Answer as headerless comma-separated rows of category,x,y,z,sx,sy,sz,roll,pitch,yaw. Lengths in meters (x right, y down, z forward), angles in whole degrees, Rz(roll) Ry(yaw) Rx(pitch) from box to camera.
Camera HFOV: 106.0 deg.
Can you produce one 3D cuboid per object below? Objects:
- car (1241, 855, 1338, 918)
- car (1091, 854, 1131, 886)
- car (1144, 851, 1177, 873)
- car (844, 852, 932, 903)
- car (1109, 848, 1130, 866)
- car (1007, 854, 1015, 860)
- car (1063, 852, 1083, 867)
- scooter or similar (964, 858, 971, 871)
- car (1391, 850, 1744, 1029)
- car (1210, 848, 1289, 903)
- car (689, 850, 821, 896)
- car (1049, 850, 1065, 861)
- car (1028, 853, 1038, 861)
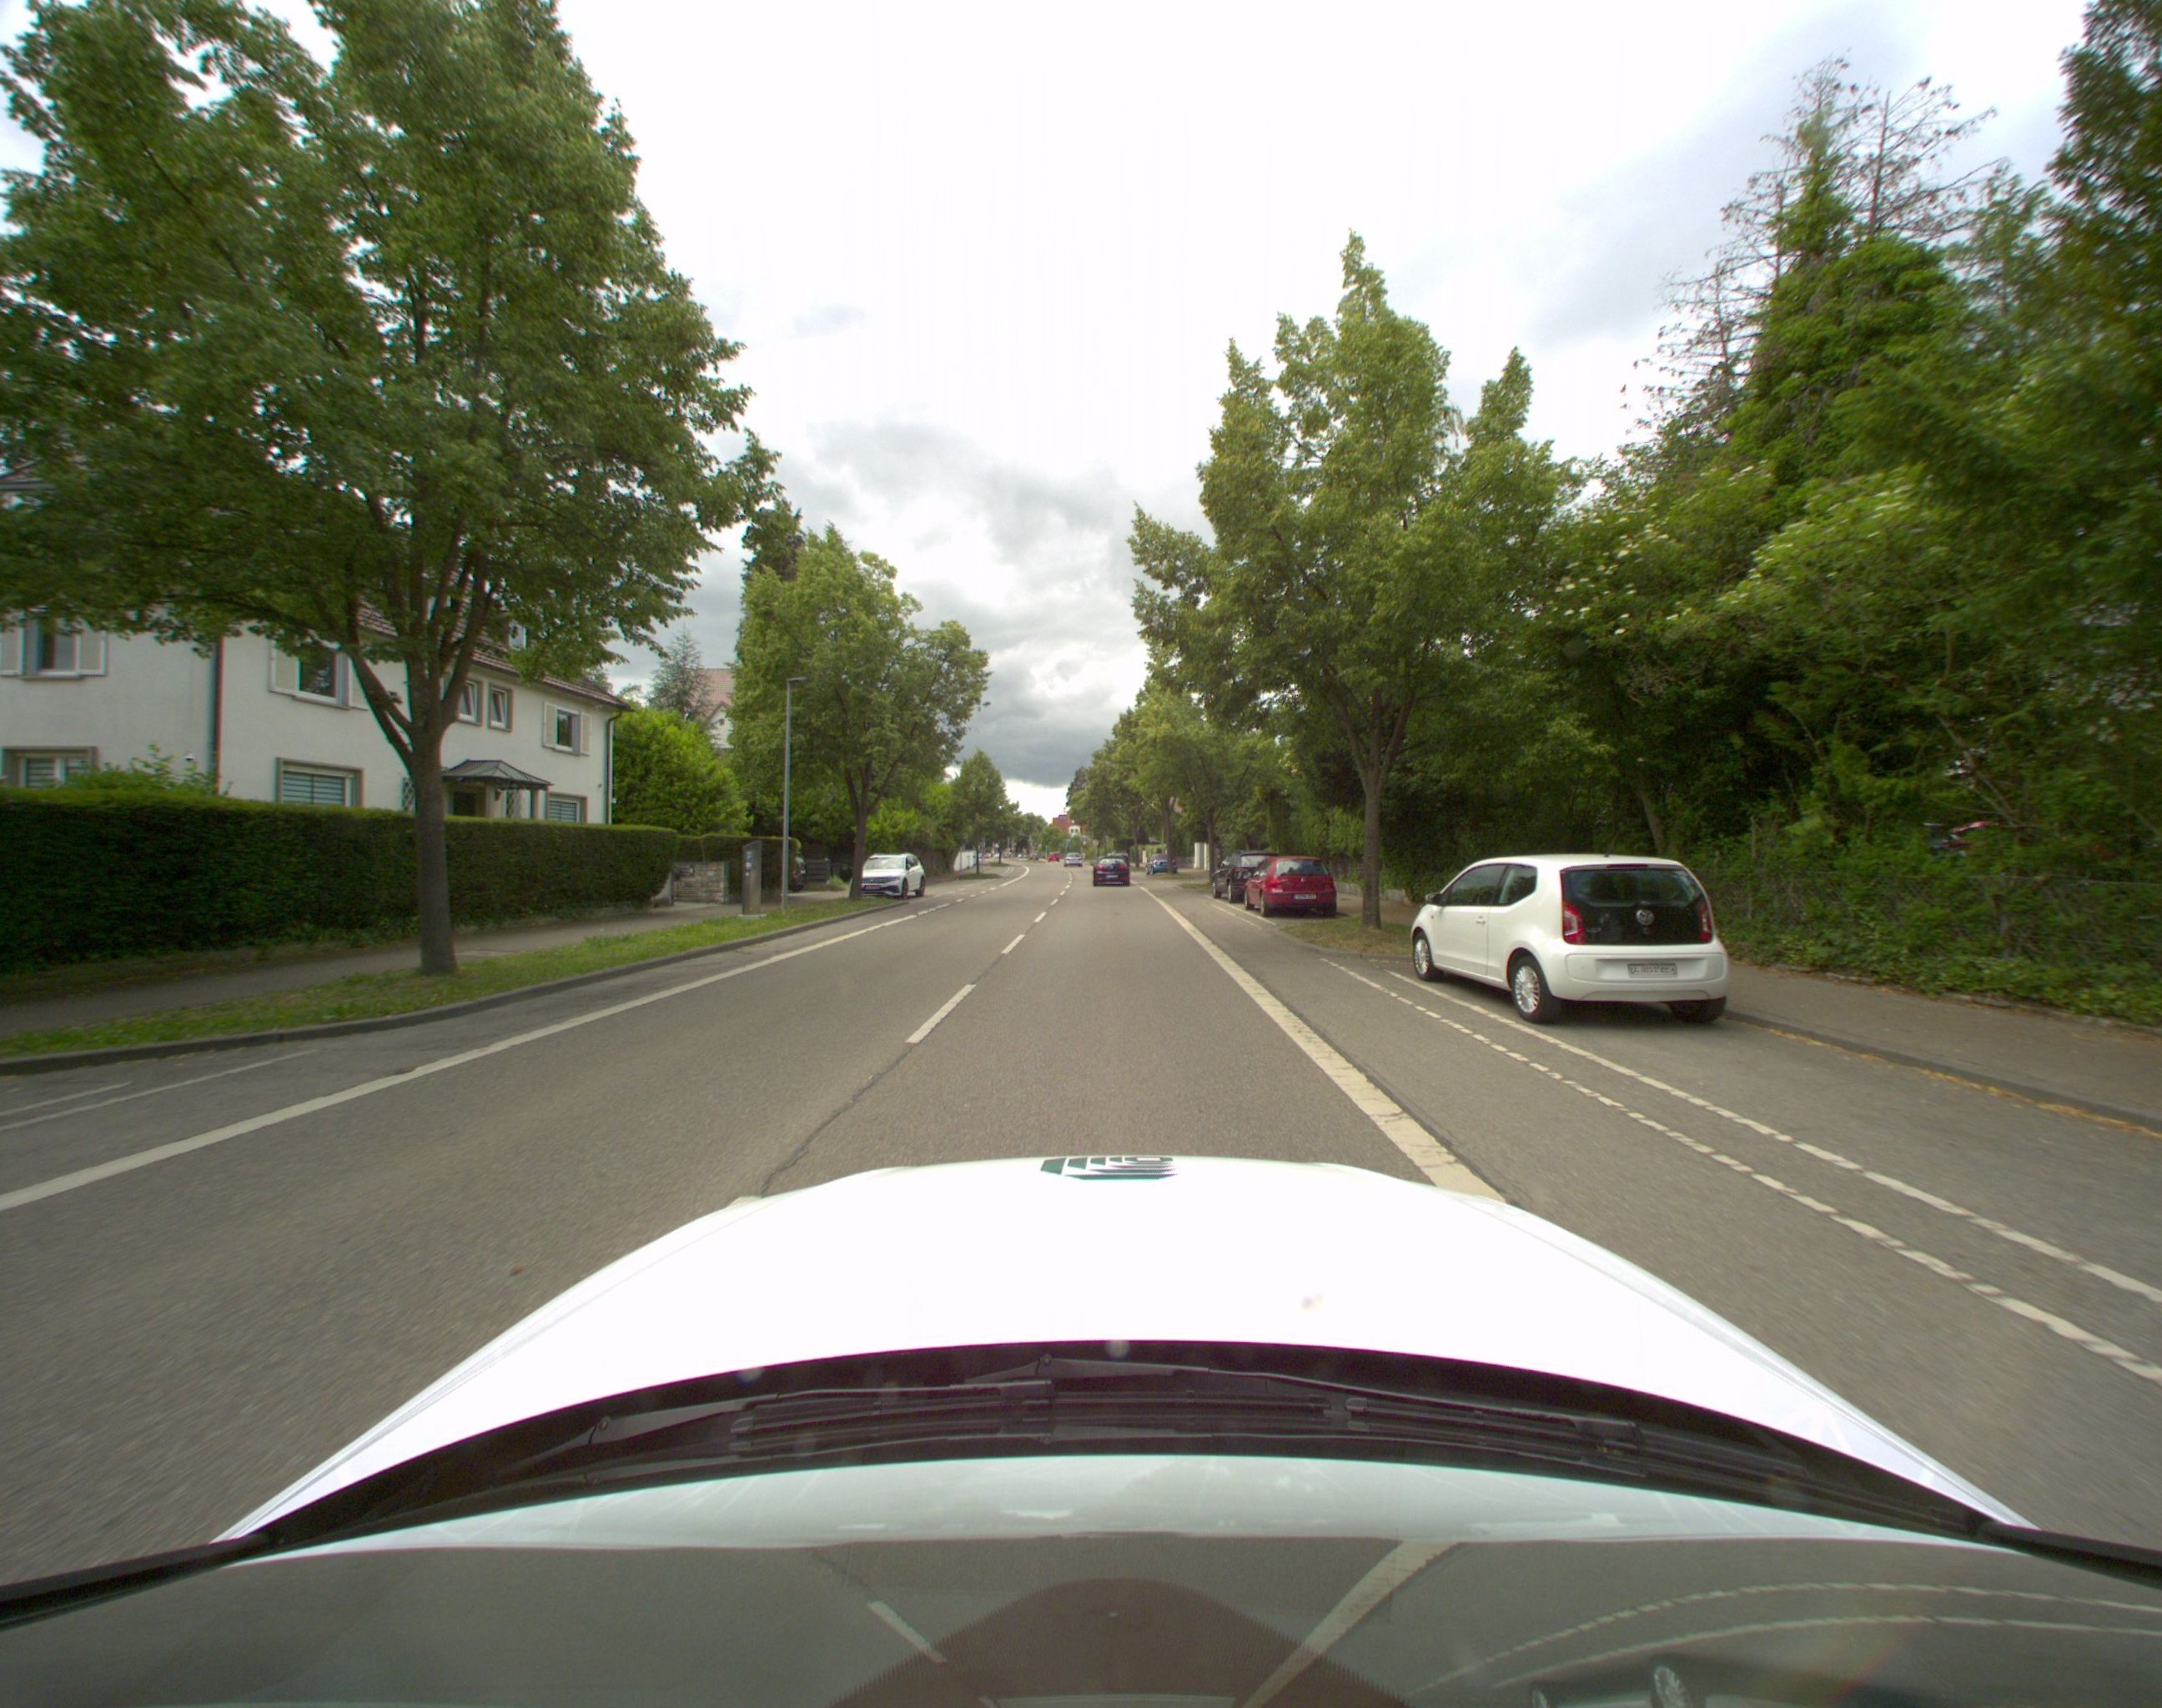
car,5.111,0.745,20.483,1.631,1.420,4.004,-1,0,3
car,1.410,0.742,39.045,1.777,1.449,3.557,0,0,0
car,5.371,0.523,55.510,1.679,1.432,4.039,0,0,-3
car,-6.936,0.786,29.812,1.867,1.688,4.867,-1,0,2
car,3.885,0.298,83.070,1.784,1.772,3.978,0,0,-3
car,-19.573,0.739,228.183,1.968,1.675,3.874,0,0,-1
car,-0.888,0.612,87.628,1.989,1.558,3.995,-1,-2,-3
scooter or similar,-10.053,0.899,71.992,0.500,1.154,1.299,0,0,-3
car,4.732,0.710,8.588,1.609,1.460,3.659,-1,0,2
car,5.262,0.644,25.962,1.633,1.615,4.168,0,0,0
car,-12.137,0.693,30.480,4.182,1.585,1.765,-1,0,1
car,-3.652,0.232,122.657,1.991,1.530,3.991,-1,0,-6
car,-9.309,0.565,158.000,1.989,1.508,3.995,0,-1,-3
